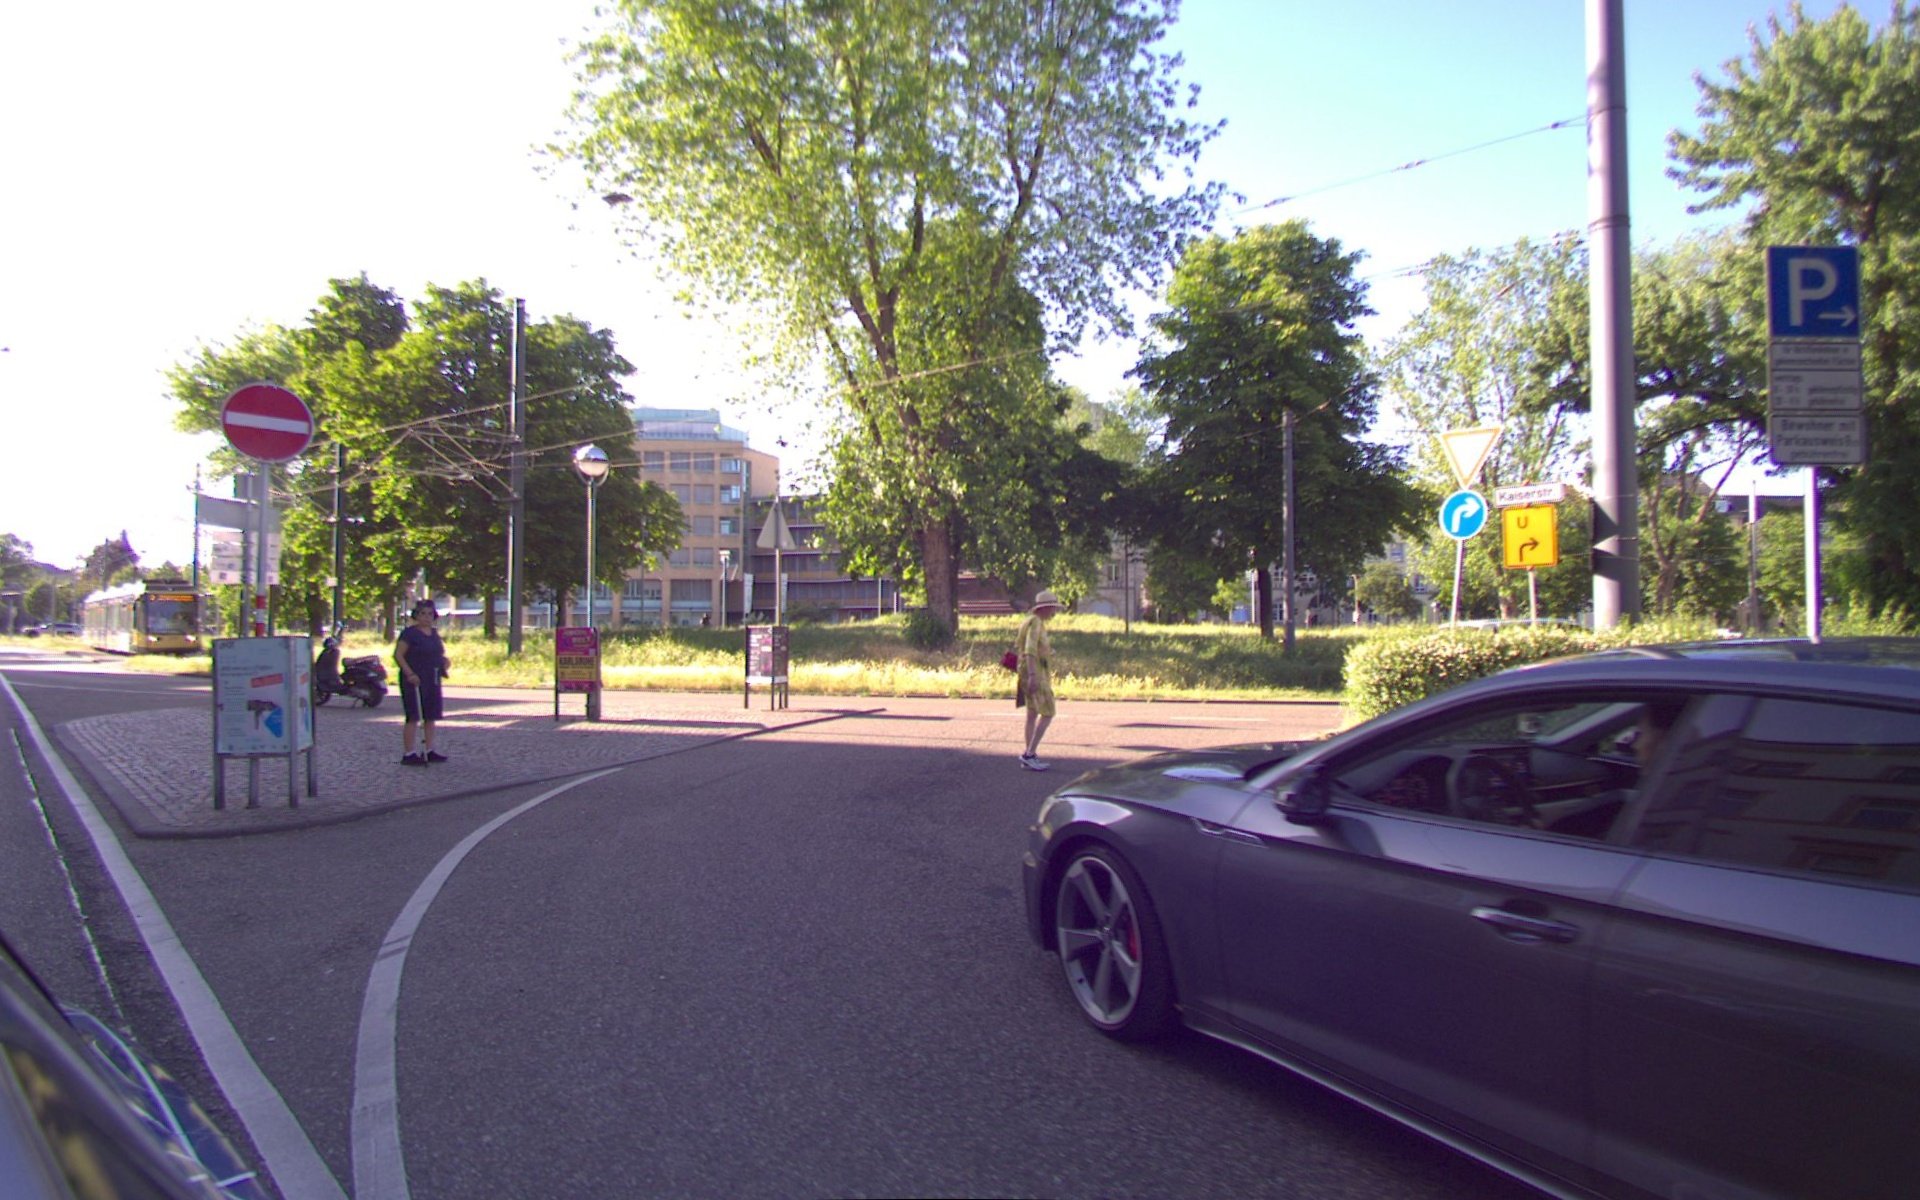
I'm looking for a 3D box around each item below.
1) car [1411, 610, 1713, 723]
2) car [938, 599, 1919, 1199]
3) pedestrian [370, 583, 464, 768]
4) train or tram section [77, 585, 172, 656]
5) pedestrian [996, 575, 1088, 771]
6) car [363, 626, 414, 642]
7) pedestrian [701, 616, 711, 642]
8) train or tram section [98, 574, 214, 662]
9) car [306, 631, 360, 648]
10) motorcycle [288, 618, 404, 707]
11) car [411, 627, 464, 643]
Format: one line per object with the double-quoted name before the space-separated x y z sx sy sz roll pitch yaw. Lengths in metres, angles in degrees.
"car" 9.703 1.046 16.573 3.819 1.695 1.810 1 -1 3
"car" 1.988 0.715 2.503 1.885 1.427 4.824 0 0 -32
"pedestrian" -5.204 0.686 9.692 0.628 1.685 0.693 0 0 -44
"train or tram section" -48.121 1.219 58.078 2.915 3.640 13.641 1 -2 -45
"pedestrian" 0.735 0.635 9.191 0.794 1.712 0.669 0 0 4
"car" -58.139 3.462 102.948 4.627 1.528 1.987 0 0 20
"pedestrian" -16.641 1.893 66.200 0.546 1.628 0.676 0 0 -7
"train or tram section" -38.853 0.910 48.661 2.915 3.713 13.191 1 -2 -45
"car" -65.677 4.169 106.023 5.046 1.747 2.093 -1 -2 20
"motorcycle" -10.099 0.995 16.647 1.749 1.384 0.743 0 0 22
"car" -52.175 3.439 101.049 4.988 1.458 1.984 0 0 24
